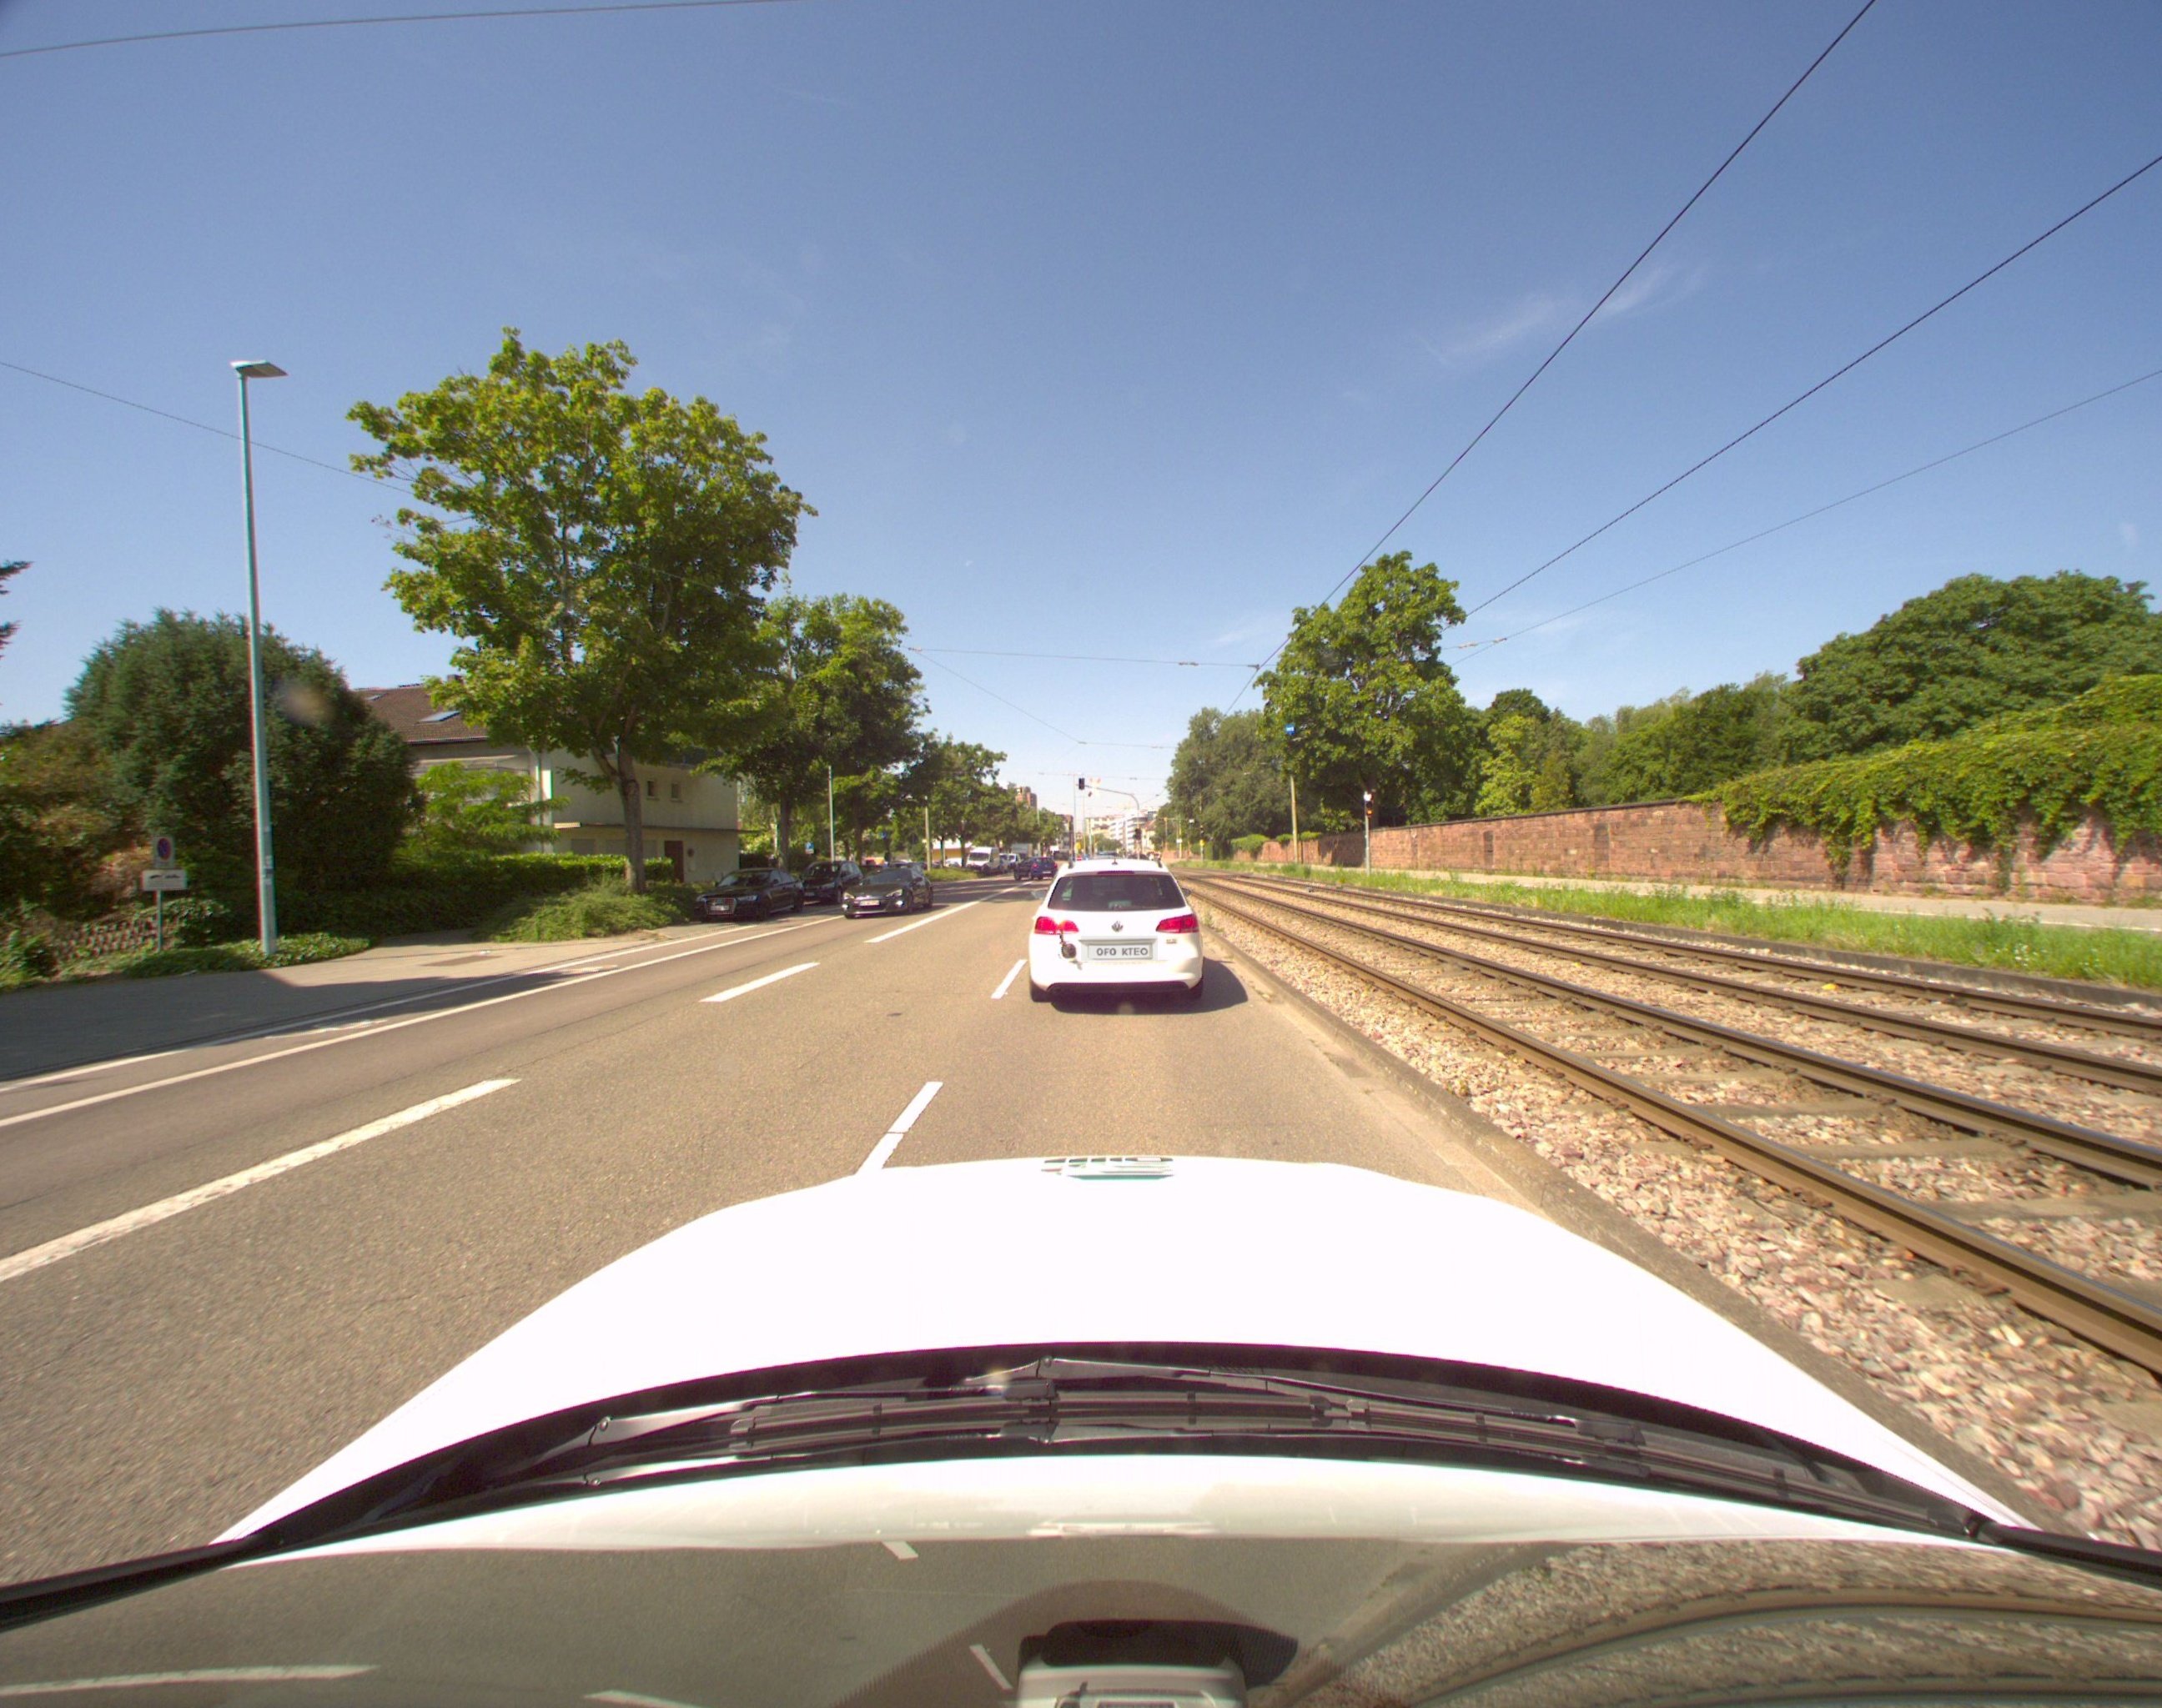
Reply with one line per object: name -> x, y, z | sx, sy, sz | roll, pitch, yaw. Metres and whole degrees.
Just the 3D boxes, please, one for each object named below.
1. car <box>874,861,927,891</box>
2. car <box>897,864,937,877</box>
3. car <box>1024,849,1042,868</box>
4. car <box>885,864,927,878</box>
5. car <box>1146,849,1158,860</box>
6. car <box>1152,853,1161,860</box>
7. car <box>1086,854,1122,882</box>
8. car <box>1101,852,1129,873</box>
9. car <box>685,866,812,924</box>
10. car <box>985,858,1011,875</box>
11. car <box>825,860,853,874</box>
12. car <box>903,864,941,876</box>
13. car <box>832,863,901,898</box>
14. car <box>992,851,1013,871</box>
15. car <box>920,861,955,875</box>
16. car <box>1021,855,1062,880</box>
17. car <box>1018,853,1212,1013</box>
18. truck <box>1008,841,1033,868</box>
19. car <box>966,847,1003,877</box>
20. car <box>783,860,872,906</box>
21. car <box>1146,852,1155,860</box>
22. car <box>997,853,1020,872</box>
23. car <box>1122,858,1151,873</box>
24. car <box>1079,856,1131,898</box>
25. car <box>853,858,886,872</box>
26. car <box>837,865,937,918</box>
car -> -9.240, 1.086, 41.872 | 1.635, 1.450, 4.007 | 0, 0, 3
car -> -18.410, 1.876, 91.340 | 3.969, 1.225, 1.773 | -2, 0, 4
car -> -6.793, 0.662, 115.076 | 1.836, 2.494, 5.860 | -2, 0, 2
car -> -18.534, 1.809, 86.431 | 3.969, 1.225, 1.773 | -2, 0, 4
car -> 15.824, 0.125, 182.201 | 2.454, 2.499, 5.912 | 0, -1, 2
car -> 14.744, 0.520, 159.474 | 1.576, 1.346, 3.455 | 0, -1, 2
car -> 1.237, 0.719, 44.191 | 1.854, 1.416, 4.326 | 0, 0, 1
car -> 2.584, 0.610, 60.820 | 1.852, 1.513, 3.919 | 0, 0, 6
car -> -9.771, 1.136, 24.396 | 1.835, 1.465, 4.907 | -2, 0, -2
car -> -7.961, 1.139, 78.165 | 1.837, 1.516, 4.199 | -2, 0, 2
car -> -33.219, 1.767, 111.858 | 3.412, 1.876, 1.552 | -2, 0, 0
car -> -18.221, 1.850, 93.457 | 3.969, 1.225, 1.773 | -2, 0, 4
car -> -9.656, 1.169, 37.028 | 1.684, 1.379, 4.784 | -2, 0, 2
car -> -8.214, 0.752, 85.384 | 1.839, 1.937, 5.189 | -2, 0, -2
car -> -17.808, 1.734, 101.138 | 3.969, 1.444, 1.773 | -2, 0, 4
car -> -2.474, 0.798, 49.846 | 1.749, 1.407, 3.893 | 0, 0, -15
car -> 0.350, 0.720, 9.360 | 1.762, 1.446, 3.914 | 0, 0, 1
truck -> -7.362, 0.106, 100.143 | 2.348, 3.122, 6.892 | -2, 0, 1
car -> -8.470, 0.684, 71.942 | 2.049, 2.501, 6.315 | 1, 0, 4
car -> -9.652, 1.048, 31.464 | 1.755, 1.606, 4.895 | -1, 0, 2
car -> 14.817, 0.408, 173.718 | 1.685, 1.812, 3.455 | 0, -1, 1
car -> -8.035, 0.900, 91.187 | 1.836, 1.960, 5.137 | -2, 0, 2
car -> 5.451, 1.091, 79.345 | 1.731, 1.407, 3.933 | 0, 0, 20
car -> 0.861, 0.764, 29.048 | 1.739, 1.388, 3.914 | 0, 0, 1
car -> -30.292, 1.559, 116.773 | 4.249, 2.014, 1.997 | 0, -1, -5
car -> -5.309, 0.988, 22.833 | 1.681, 1.244, 4.066 | -3, 0, 1
